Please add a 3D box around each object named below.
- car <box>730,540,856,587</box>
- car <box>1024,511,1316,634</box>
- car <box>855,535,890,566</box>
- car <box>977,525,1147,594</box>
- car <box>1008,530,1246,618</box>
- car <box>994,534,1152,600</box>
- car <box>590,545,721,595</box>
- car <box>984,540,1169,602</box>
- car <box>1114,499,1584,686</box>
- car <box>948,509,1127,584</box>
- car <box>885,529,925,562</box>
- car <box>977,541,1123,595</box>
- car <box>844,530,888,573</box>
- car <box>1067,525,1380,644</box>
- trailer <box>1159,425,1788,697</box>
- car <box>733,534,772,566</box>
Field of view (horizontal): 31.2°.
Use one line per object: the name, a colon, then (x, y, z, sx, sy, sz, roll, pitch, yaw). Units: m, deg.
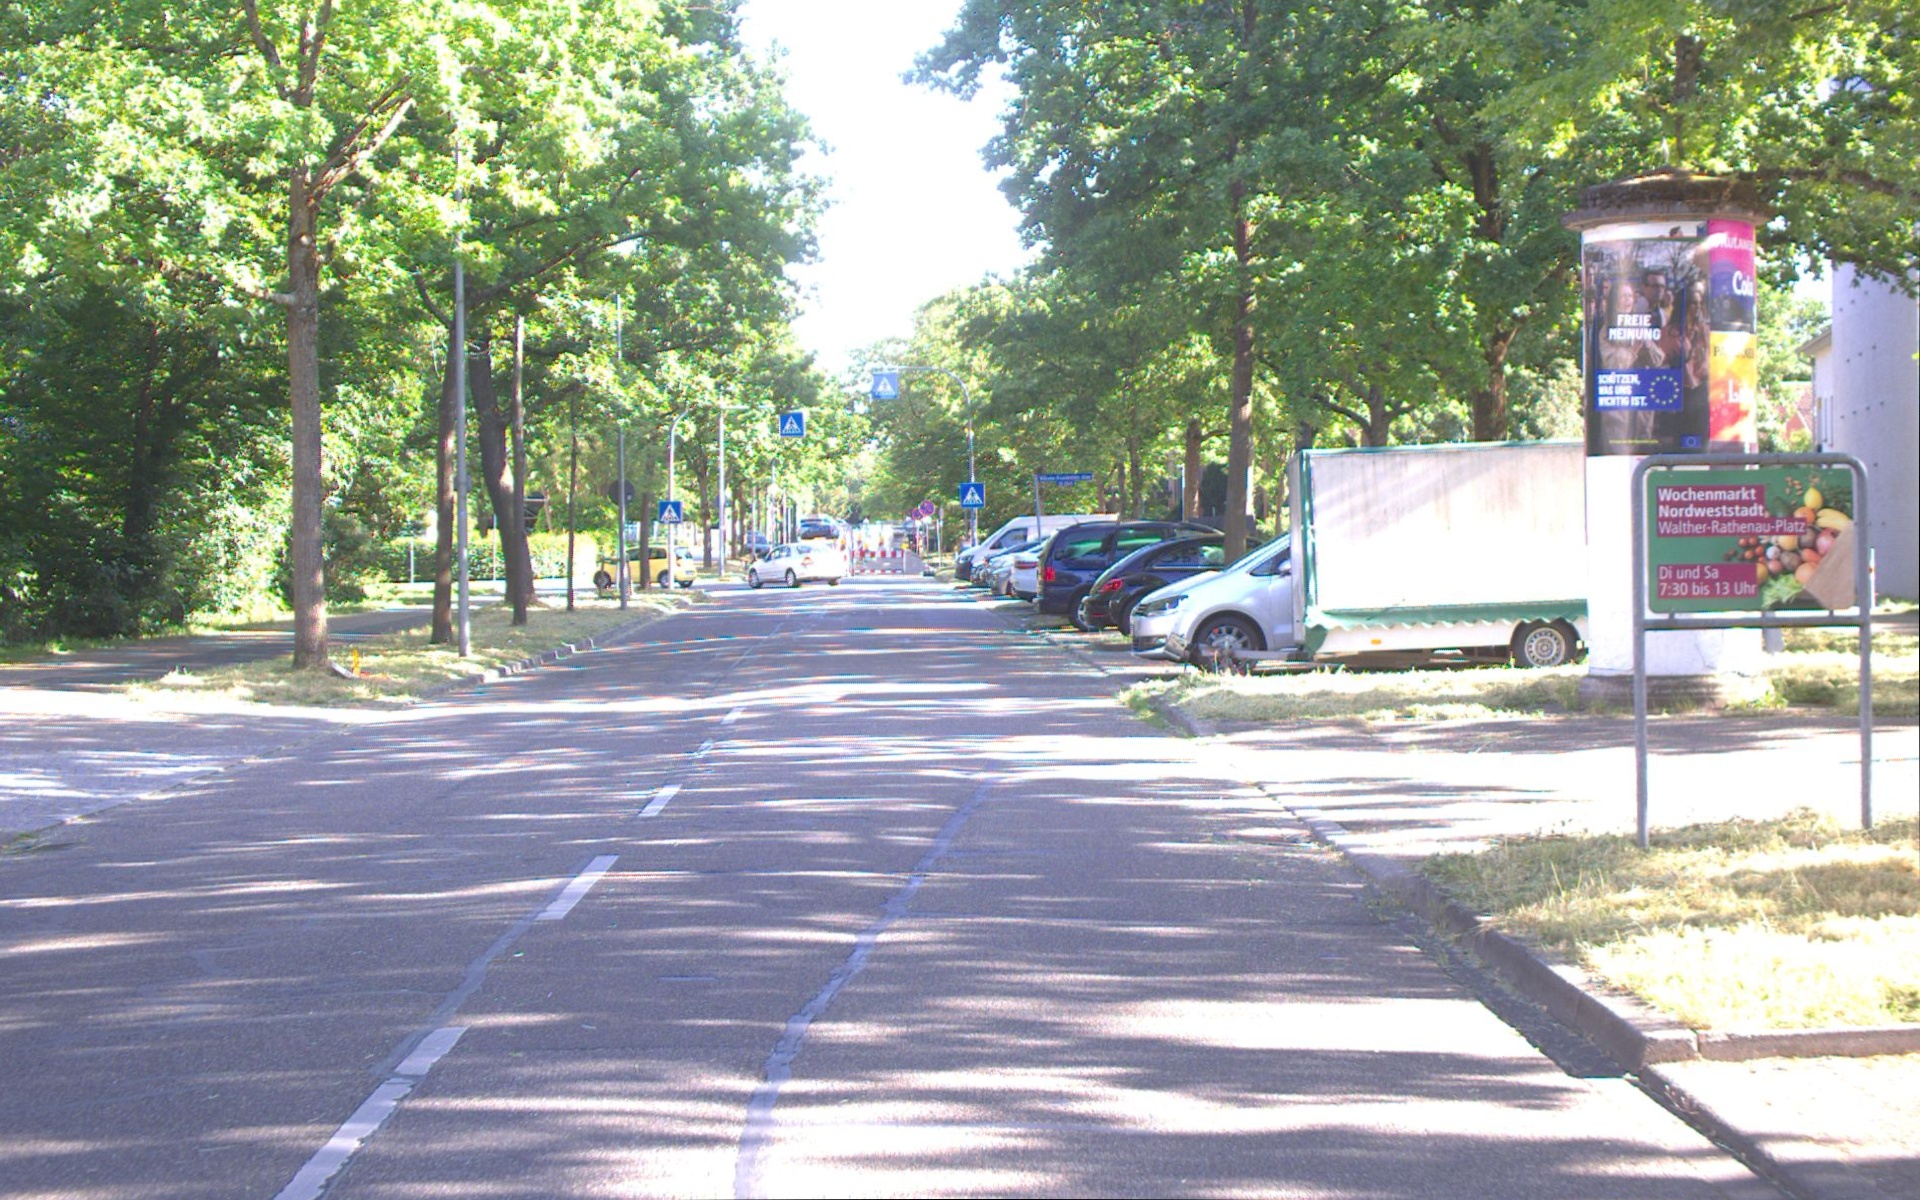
car: (-5.421, -1.181, 111.158, 1.994, 1.479, 3.998, -1, 1, -42)
car: (3.361, -0.454, 55.694, 4.529, 1.795, 1.936, -2, 1, -1)
car: (-4.981, -2.818, 195.492, 1.993, 1.711, 4.000, 0, 1, -2)
car: (2.730, -1.103, 92.779, 4.384, 1.645, 1.851, -3, 1, -3)
car: (3.360, -0.540, 69.886, 4.670, 1.575, 1.917, -2, 1, -1)
car: (2.885, -0.849, 88.098, 3.884, 1.492, 1.777, -3, 1, -2)
car: (-10.386, -1.019, 117.284, 3.992, 1.650, 1.998, 0, 1, 23)
car: (2.852, -0.730, 85.178, 4.445, 1.385, 1.911, -2, 1, -1)
car: (4.023, -0.095, 36.173, 4.642, 1.716, 1.988, -2, 1, 0)
car: (2.301, -1.610, 103.079, 5.186, 2.098, 2.083, -1, 1, -3)
car: (-2.884, -2.862, 179.769, 1.993, 1.711, 4.000, 0, 1, -2)
car: (2.469, -0.896, 95.313, 3.987, 1.428, 1.901, -1, 1, 1)
car: (-4.362, -2.246, 159.073, 1.993, 1.926, 4.000, 0, 1, -2)
car: (3.710, -0.236, 49.033, 4.245, 1.514, 2.078, -2, 1, 0)
trailer: (4.904, -0.386, 33.357, 5.775, 2.309, 1.686, -3, 1, 1)
car: (-11.225, -2.691, 185.745, 1.993, 1.711, 4.000, 0, 1, -2)
